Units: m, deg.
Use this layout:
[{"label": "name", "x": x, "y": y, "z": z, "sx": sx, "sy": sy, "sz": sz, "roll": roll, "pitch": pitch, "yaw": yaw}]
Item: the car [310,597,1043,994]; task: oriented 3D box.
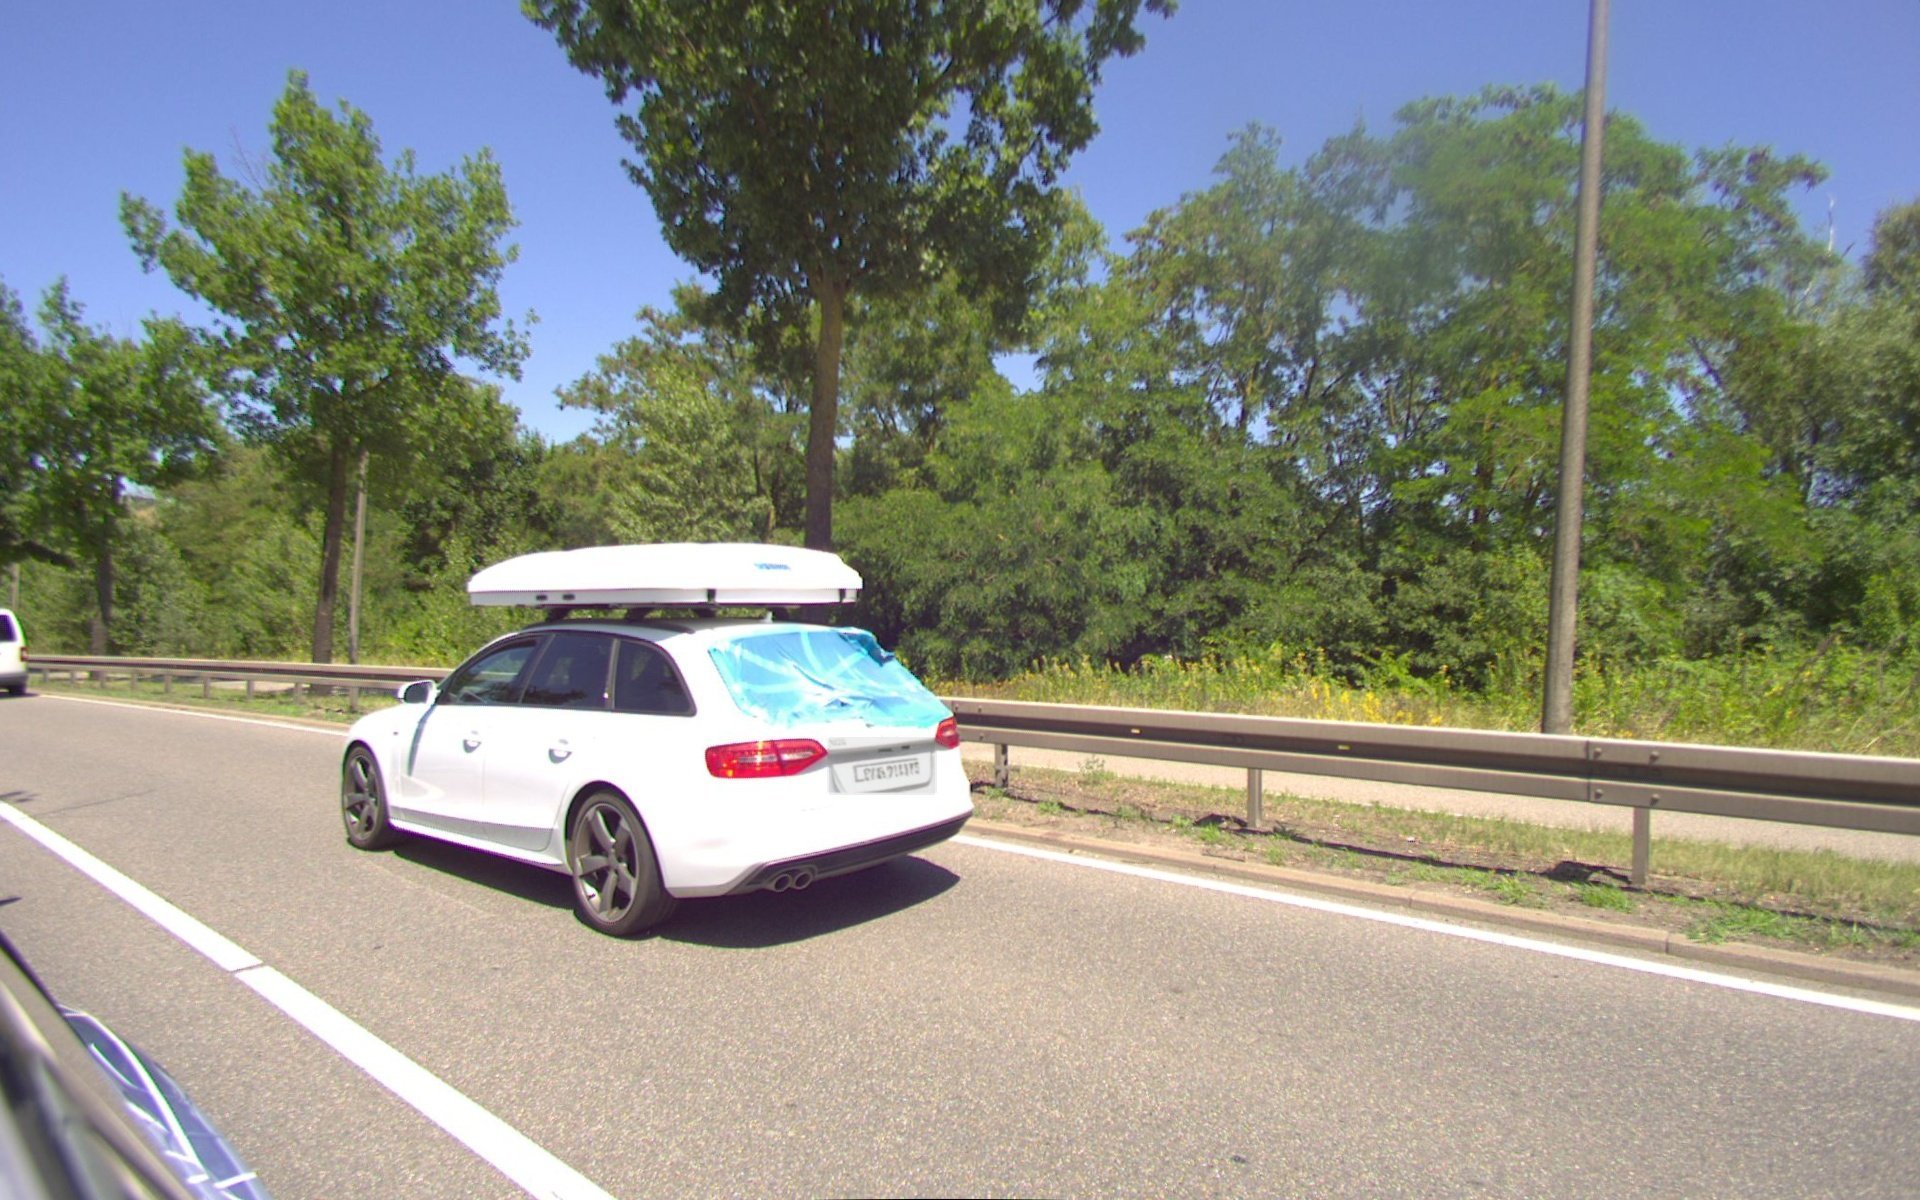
[{"label": "car", "x": -1.880, "y": 0.738, "z": 5.787, "sx": 4.461, "sy": 1.432, "sz": 1.801, "roll": -1, "pitch": 0, "yaw": 39}]

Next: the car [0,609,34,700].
[{"label": "car", "x": -20.840, "y": 1.104, "z": 20.691, "sx": 4.374, "sy": 1.776, "sz": 1.732, "roll": -1, "pitch": 0, "yaw": 32}]
